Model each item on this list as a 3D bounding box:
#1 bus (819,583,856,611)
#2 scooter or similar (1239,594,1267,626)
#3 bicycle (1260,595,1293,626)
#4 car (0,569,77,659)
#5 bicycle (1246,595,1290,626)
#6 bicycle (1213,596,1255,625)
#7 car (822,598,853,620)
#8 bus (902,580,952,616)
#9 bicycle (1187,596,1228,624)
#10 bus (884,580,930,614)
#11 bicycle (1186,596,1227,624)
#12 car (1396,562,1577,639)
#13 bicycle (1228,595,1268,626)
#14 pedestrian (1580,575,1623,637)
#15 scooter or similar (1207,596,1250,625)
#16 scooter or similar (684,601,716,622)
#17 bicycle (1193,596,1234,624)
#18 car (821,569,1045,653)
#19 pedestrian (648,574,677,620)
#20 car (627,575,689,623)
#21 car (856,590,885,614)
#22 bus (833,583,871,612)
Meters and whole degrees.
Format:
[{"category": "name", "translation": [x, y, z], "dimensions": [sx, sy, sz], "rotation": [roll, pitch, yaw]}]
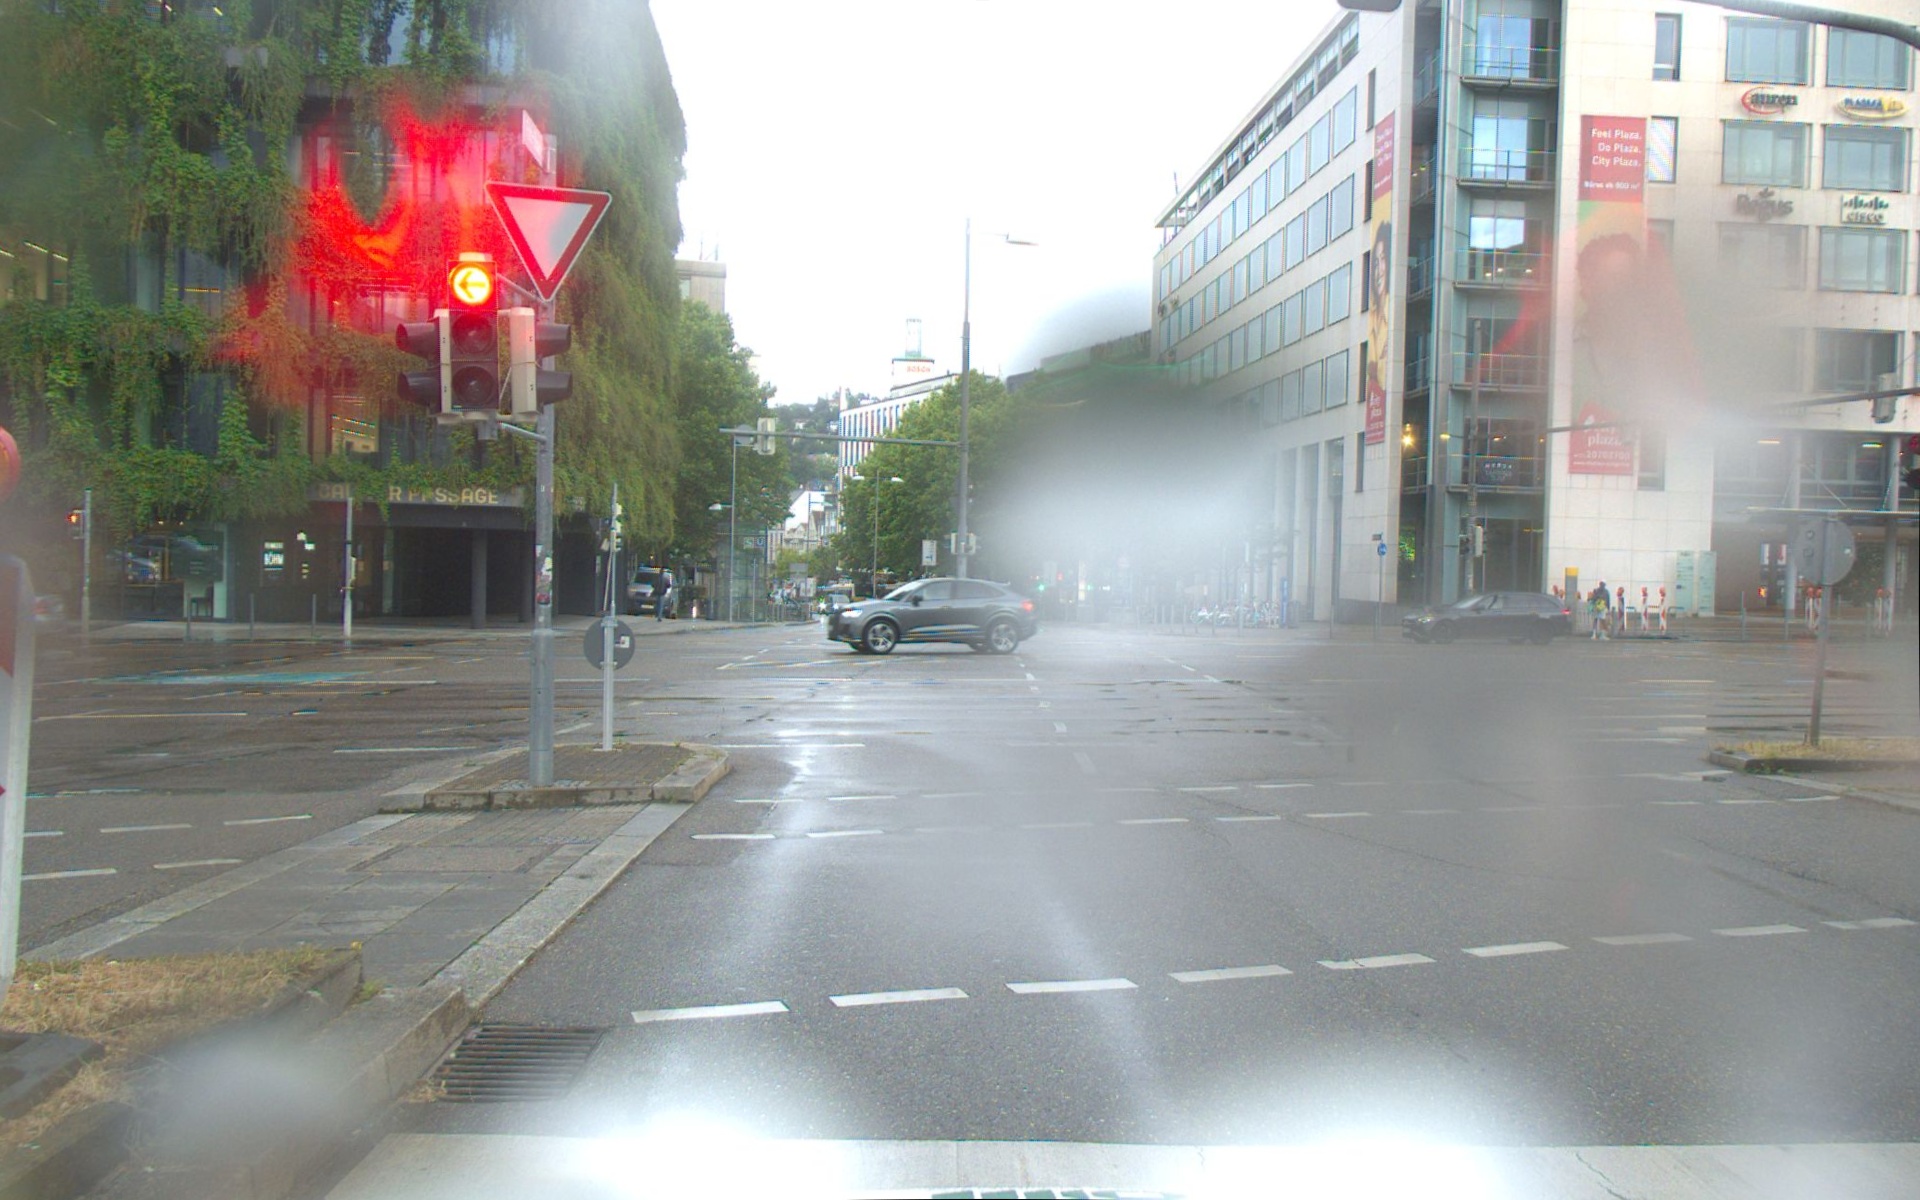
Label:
[{"category": "bus", "translation": [-13.346, -0.349, 180.128], "dimensions": [2.585, 3.048, 7.417], "rotation": [0, 0, -16]}, {"category": "scooter or similar", "translation": [11.385, 0.400, 64.322], "dimensions": [0.946, 1.215, 0.453], "rotation": [1, -1, 40]}, {"category": "bicycle", "translation": [12.859, 0.438, 67.139], "dimensions": [0.575, 1.215, 1.776], "rotation": [1, -1, 37]}, {"category": "car", "translation": [-18.888, 0.217, 30.086], "dimensions": [4.641, 1.502, 1.993], "rotation": [1, 4, -16]}, {"category": "bicycle", "translation": [12.121, 0.416, 65.018], "dimensions": [1.590, 1.215, 0.586], "rotation": [1, -1, 25]}, {"category": "bicycle", "translation": [11.891, 0.441, 71.776], "dimensions": [1.741, 1.215, 0.586], "rotation": [1, -1, 1]}, {"category": "car", "translation": [-10.592, 0.785, 142.632], "dimensions": [2.125, 1.796, 4.817], "rotation": [-1, 0, -11]}, {"category": "bus", "translation": [-2.974, -0.197, 145.896], "dimensions": [2.585, 3.048, 7.417], "rotation": [0, 0, -16]}, {"category": "bicycle", "translation": [11.005, 0.434, 73.566], "dimensions": [1.741, 1.215, 0.586], "rotation": [1, -1, 1]}, {"category": "bus", "translation": [-4.971, -0.264, 153.012], "dimensions": [2.585, 3.048, 7.417], "rotation": [0, 0, -16]}, {"category": "bicycle", "translation": [10.862, 0.429, 72.930], "dimensions": [1.741, 1.215, 0.586], "rotation": [1, -1, 1]}, {"category": "car", "translation": [14.693, 0.027, 46.263], "dimensions": [4.561, 2.049, 1.548], "rotation": [1, 0, -4]}, {"category": "bicycle", "translation": [11.584, 0.414, 66.562], "dimensions": [0.578, 1.215, 1.766], "rotation": [1, 0, -28]}, {"category": "pedestrian", "translation": [19.348, 0.180, 49.868], "dimensions": [0.942, 1.848, 0.836], "rotation": [1, -1, -1]}, {"category": "scooter or similar", "translation": [11.547, 0.433, 71.149], "dimensions": [1.741, 1.215, 0.586], "rotation": [1, -1, 1]}, {"category": "scooter or similar", "translation": [-12.935, 0.551, 82.338], "dimensions": [0.612, 1.022, 1.653], "rotation": [1, 0, 37]}, {"category": "bicycle", "translation": [11.421, 0.445, 74.490], "dimensions": [1.741, 1.215, 0.586], "rotation": [1, -1, 1]}, {"category": "car", "translation": [-0.588, 0.241, 34.786], "dimensions": [4.402, 1.637, 1.823], "rotation": [1, 0, -17]}, {"category": "pedestrian", "translation": [-11.085, -0.120, 61.607], "dimensions": [0.915, 1.673, 0.774], "rotation": [1, -1, -1]}, {"category": "car", "translation": [-12.389, -0.042, 68.137], "dimensions": [1.832, 1.871, 3.999], "rotation": [1, 0, -1]}, {"category": "car", "translation": [-6.861, 0.168, 126.076], "dimensions": [2.121, 1.796, 5.108], "rotation": [1, 0, -4]}, {"category": "bus", "translation": [-11.348, -0.290, 173.061], "dimensions": [2.585, 3.048, 7.296], "rotation": [0, 0, -16]}]
